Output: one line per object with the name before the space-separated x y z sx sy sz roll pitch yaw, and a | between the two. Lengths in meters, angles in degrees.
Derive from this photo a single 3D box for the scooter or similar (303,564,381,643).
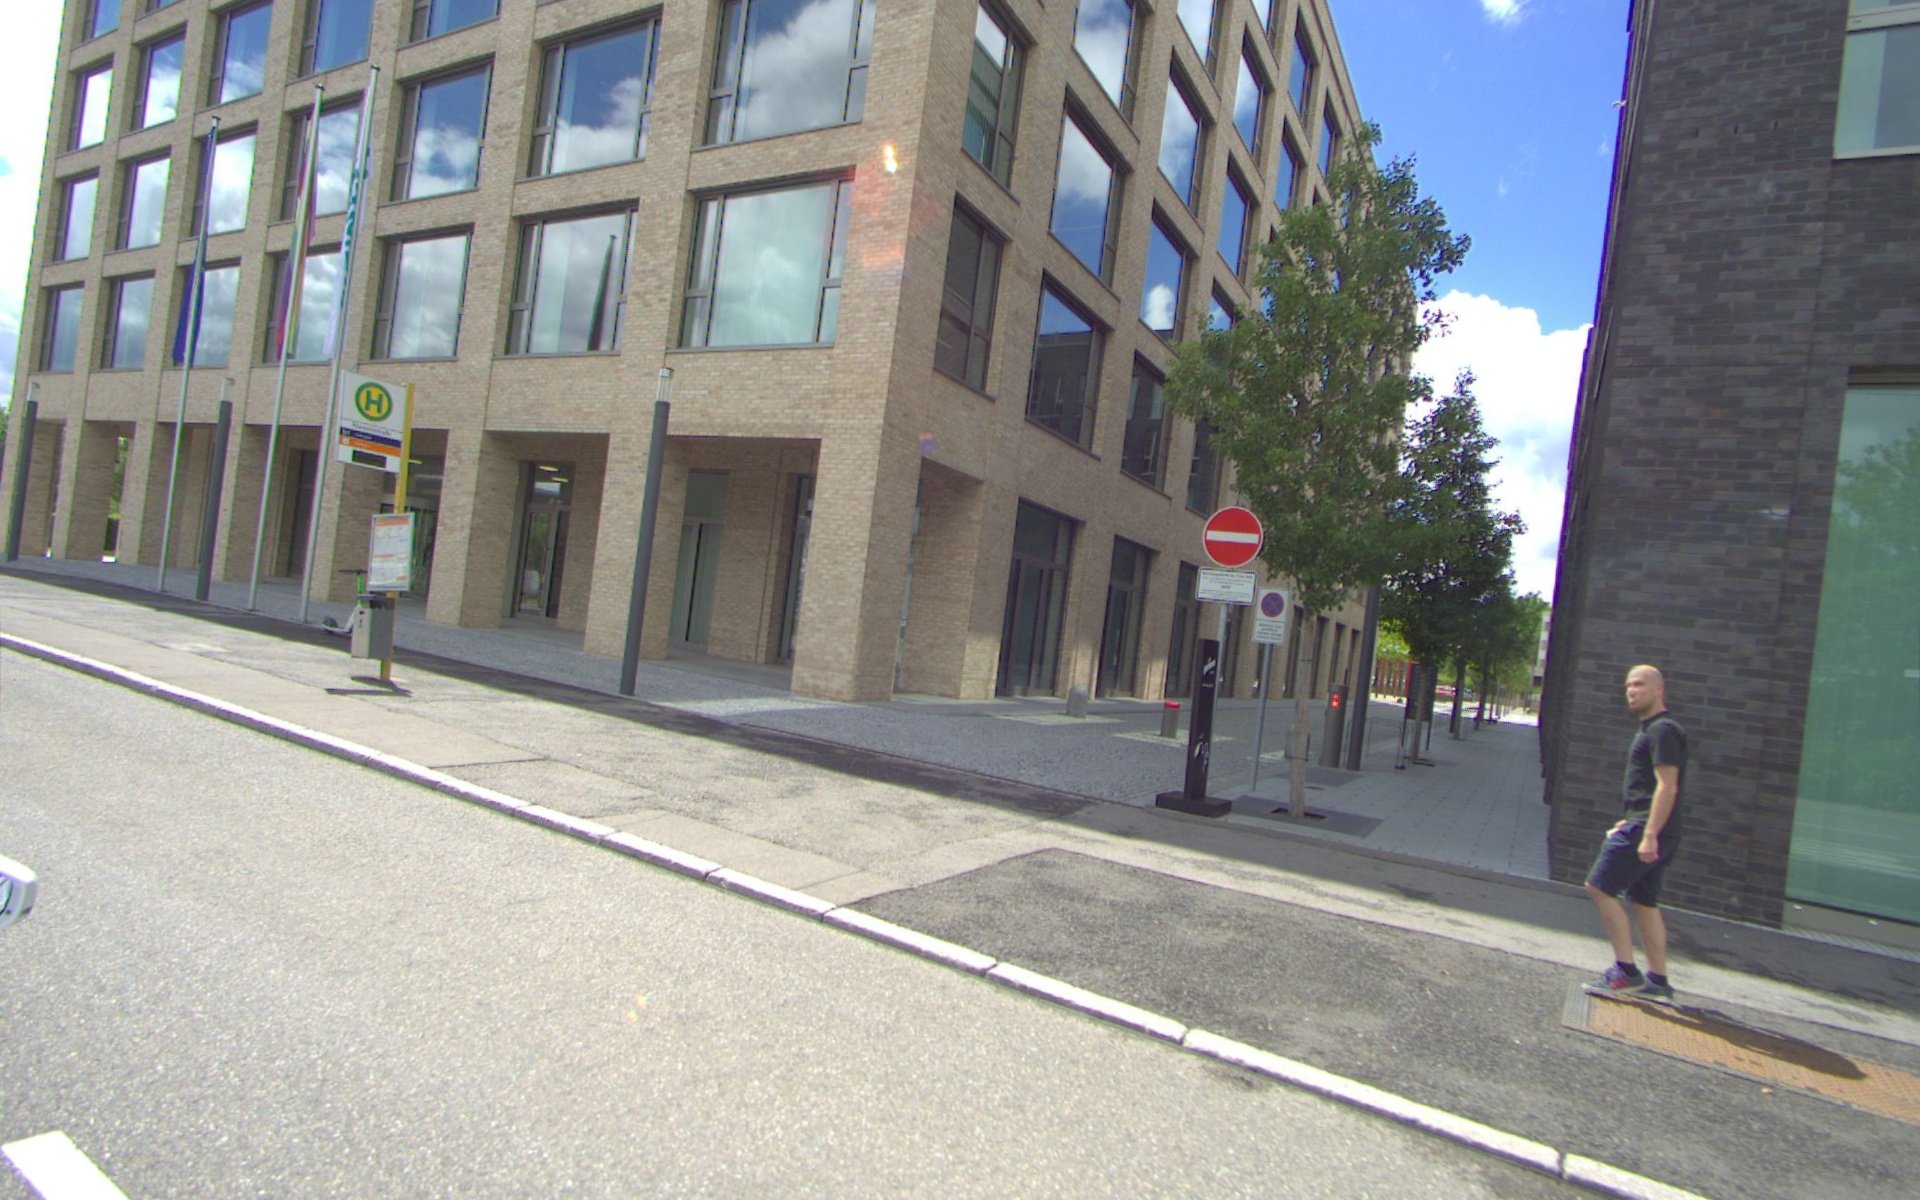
scooter or similar | -10.281 0.051 16.720 1.380 1.167 0.427 6 0 31

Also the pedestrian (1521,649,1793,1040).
pedestrian | 3.618 1.205 5.318 0.946 1.748 0.684 7 -1 31
